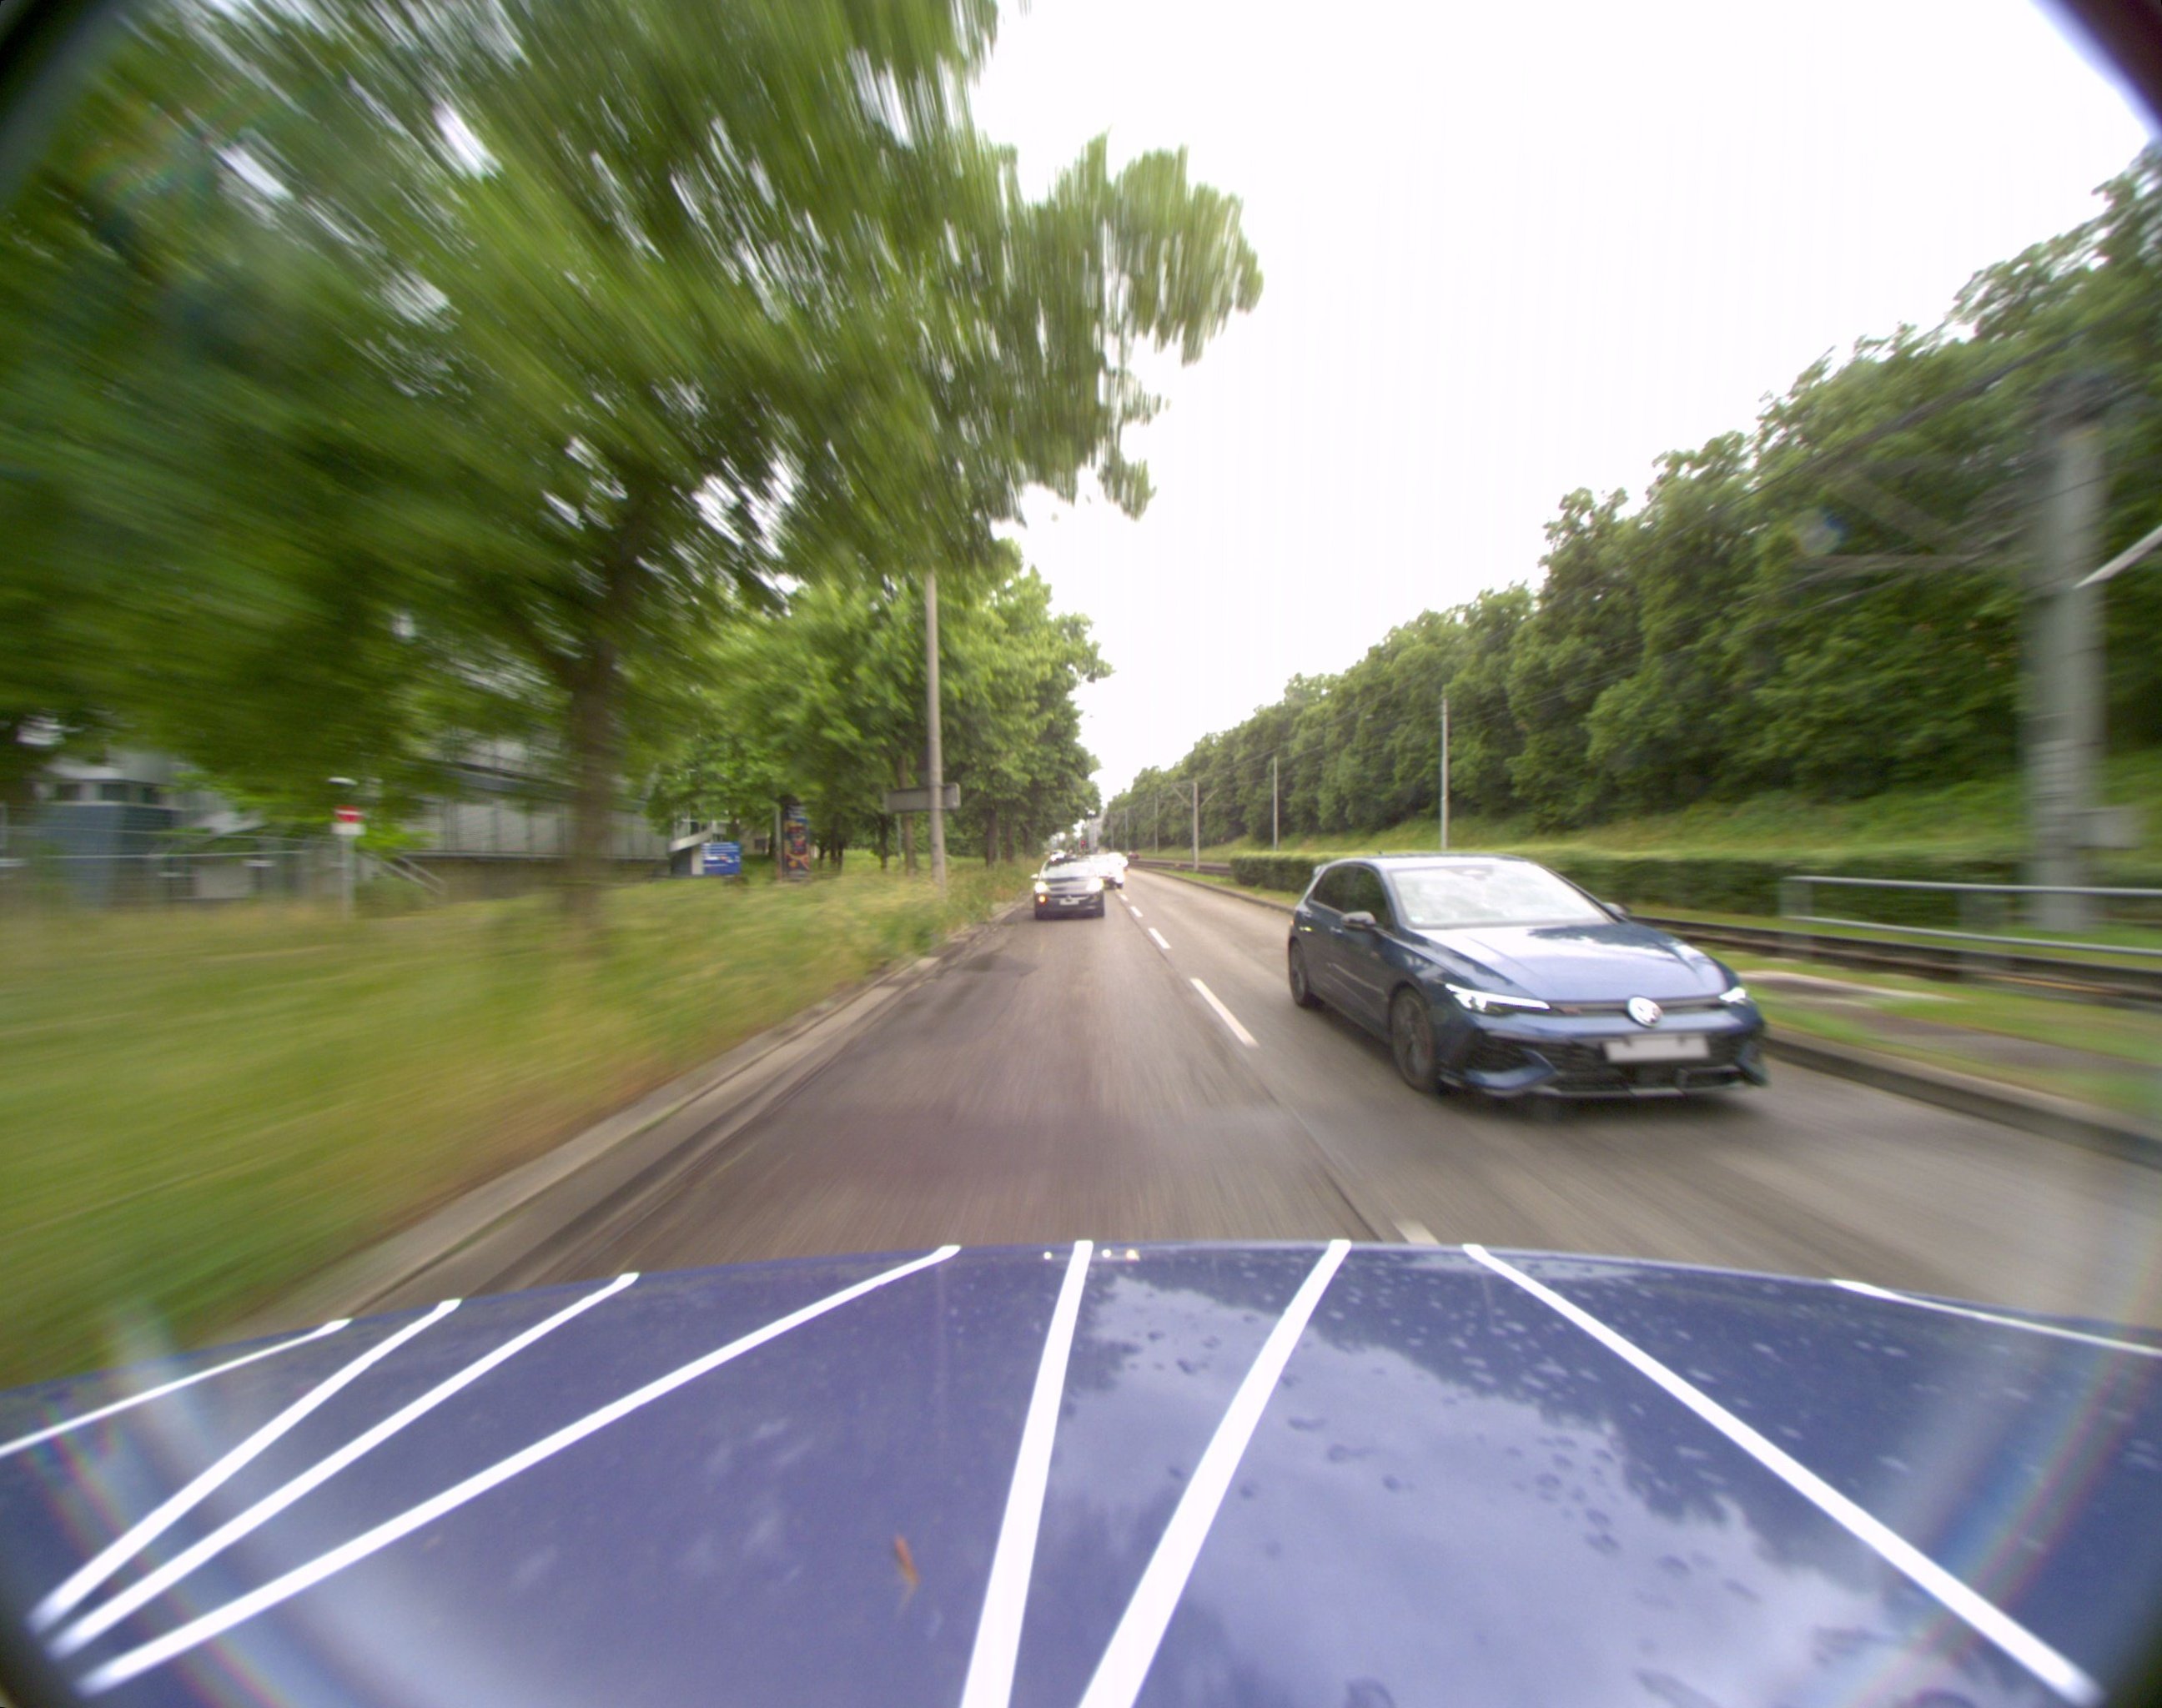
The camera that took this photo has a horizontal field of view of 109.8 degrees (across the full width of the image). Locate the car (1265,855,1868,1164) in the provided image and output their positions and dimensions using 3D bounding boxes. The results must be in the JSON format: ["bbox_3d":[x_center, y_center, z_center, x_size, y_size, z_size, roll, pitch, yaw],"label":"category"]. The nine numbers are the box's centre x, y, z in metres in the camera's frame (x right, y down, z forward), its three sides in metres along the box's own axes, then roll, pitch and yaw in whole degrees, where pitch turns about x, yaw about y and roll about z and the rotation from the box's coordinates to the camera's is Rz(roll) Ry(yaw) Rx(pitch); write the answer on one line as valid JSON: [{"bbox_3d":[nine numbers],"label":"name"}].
[{"bbox_3d":[2.859,0.750,5.812,1.813,1.370,4.346,-2,1,0],"label":"car"}]

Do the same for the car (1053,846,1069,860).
[{"bbox_3d":[-3.011,-0.121,113.015,1.961,1.914,4.842,-4,1,-5],"label":"car"}]

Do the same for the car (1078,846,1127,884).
[{"bbox_3d":[0.938,0.435,33.557,1.960,1.457,4.699,-2,1,2],"label":"car"}]

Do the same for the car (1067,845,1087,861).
[{"bbox_3d":[-0.439,-0.143,79.190,1.960,1.469,4.698,-4,1,0],"label":"car"}]

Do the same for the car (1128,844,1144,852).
[{"bbox_3d":[10.426,-1.091,145.029,2.000,1.423,4.427,-2,1,-9],"label":"car"}]

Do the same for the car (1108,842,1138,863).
[{"bbox_3d":[3.293,-0.155,60.512,1.960,1.472,4.698,-4,1,-1],"label":"car"}]

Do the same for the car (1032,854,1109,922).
[{"bbox_3d":[-0.289,0.773,19.618,1.711,1.425,4.427,-2,1,-1],"label":"car"}]
